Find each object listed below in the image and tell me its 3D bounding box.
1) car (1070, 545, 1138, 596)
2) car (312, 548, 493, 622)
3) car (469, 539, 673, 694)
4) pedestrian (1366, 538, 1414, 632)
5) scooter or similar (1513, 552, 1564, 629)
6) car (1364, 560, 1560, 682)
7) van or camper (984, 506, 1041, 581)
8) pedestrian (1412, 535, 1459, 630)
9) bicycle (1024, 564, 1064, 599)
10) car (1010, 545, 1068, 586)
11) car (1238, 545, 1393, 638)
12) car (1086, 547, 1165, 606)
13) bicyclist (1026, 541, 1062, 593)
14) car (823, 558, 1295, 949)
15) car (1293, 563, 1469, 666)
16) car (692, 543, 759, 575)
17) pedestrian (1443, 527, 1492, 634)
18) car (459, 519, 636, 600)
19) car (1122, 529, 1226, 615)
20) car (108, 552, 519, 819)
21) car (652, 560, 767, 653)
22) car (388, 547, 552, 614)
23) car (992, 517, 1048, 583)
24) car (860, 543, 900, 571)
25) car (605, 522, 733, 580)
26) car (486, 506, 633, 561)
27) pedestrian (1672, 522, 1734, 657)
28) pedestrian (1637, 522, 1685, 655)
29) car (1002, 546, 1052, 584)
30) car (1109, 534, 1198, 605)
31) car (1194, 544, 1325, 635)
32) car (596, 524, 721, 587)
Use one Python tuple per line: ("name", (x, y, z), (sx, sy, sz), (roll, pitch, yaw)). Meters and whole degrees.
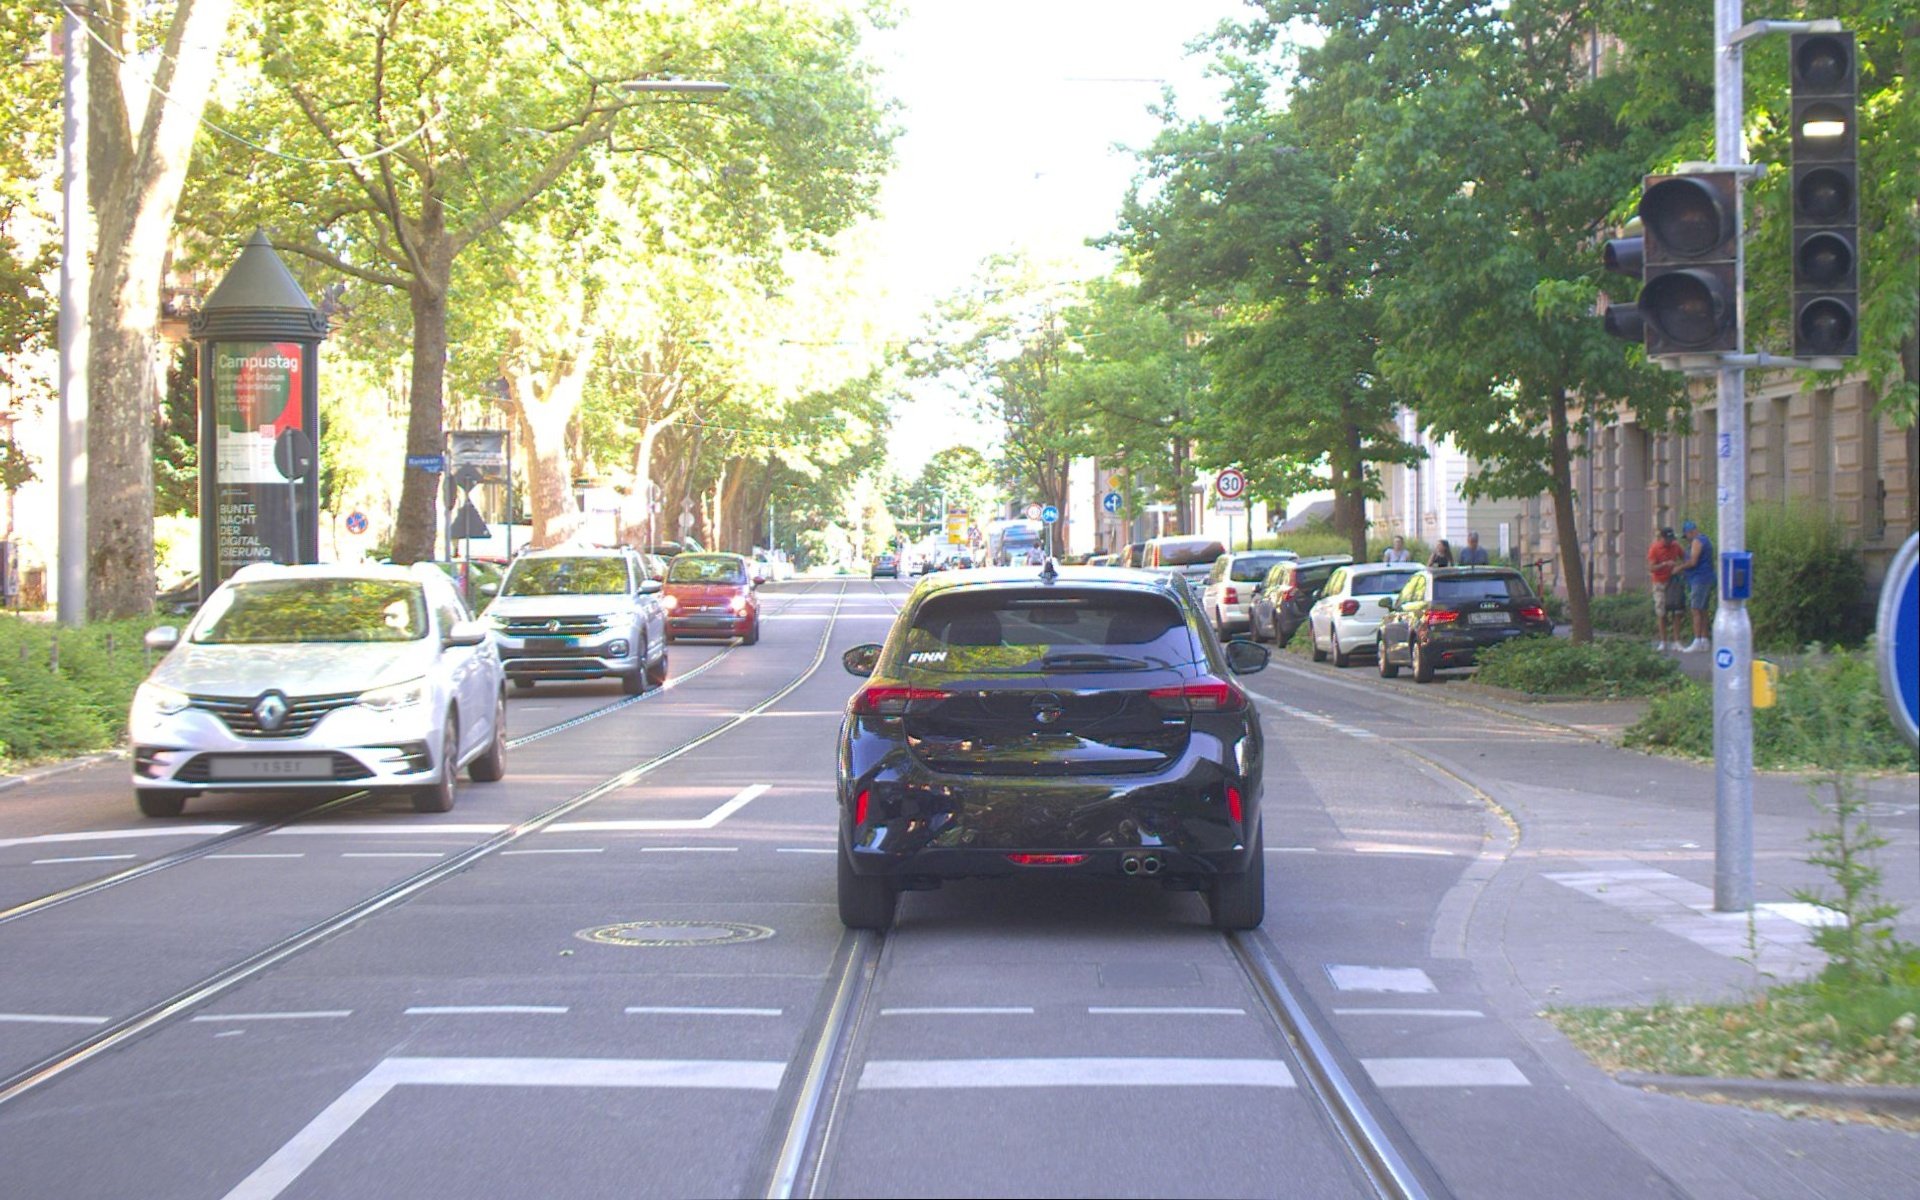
("car", (4.308, -0.900, 103.492), (1.702, 1.418, 3.979), (-3, 1, -2))
("car", (-11.424, -0.311, 70.586), (3.420, 1.460, 1.697), (1, 1, 1))
("car", (-4.190, 0.145, 37.554), (1.815, 1.563, 4.116), (-1, 1, -1))
("pedestrian", (7.827, -0.278, 62.618), (0.726, 1.687, 0.957), (1, 1, 0))
("scooter or similar", (9.476, -0.167, 56.328), (0.575, 1.242, 1.335), (1, 1, 0))
("car", (6.281, 0.230, 43.384), (1.672, 1.407, 3.843), (-2, 1, -3))
("van or camper", (2.324, -2.514, 153.418), (2.254, 3.205, 5.531), (-1, 1, -2))
("pedestrian", (8.656, -0.316, 62.645), (0.726, 1.703, 0.856), (1, 1, 2))
("bicycle", (2.457, -0.553, 101.195), (0.967, 0.995, 2.583), (1, 1, -3))
("car", (2.959, -1.299, 129.401), (1.884, 1.429, 4.530), (-2, 1, -2))
("car", (6.090, -0.169, 59.373), (1.884, 1.462, 4.594), (-3, 1, -3))
("car", (4.539, -0.658, 94.757), (1.711, 1.509, 4.037), (-2, 1, -3))
("bicyclist", (2.468, -0.977, 101.193), (0.958, 1.494, 1.094), (1, 1, -3))
("car", (0.324, 0.558, 14.963), (1.763, 1.455, 3.951), (1, 1, -1))
("car", (6.077, 0.179, 50.022), (1.884, 1.363, 4.107), (-2, 1, -2))
("car", (-15.096, -2.649, 221.289), (3.987, 2.007, 2.000), (1, 1, 5))
("pedestrian", (8.565, -0.337, 58.028), (0.726, 1.787, 0.600), (1, 0, 1))
("car", (-11.978, -1.185, 100.065), (5.032, 2.251, 2.086), (1, 1, -5))
("car", (4.918, -0.653, 79.655), (1.884, 1.845, 4.968), (-2, 1, -2))
("car", (-3.844, 0.448, 21.102), (1.775, 1.456, 4.204), (1, 1, -1))
("car", (-4.088, 0.081, 56.472), (1.660, 1.439, 3.473), (1, 1, -1))
("car", (-11.068, -0.453, 77.800), (3.420, 1.460, 1.759), (1, 1, 1))
("car", (2.545, -2.158, 146.860), (2.085, 2.762, 4.698), (-1, 1, -2))
("car", (-5.383, -2.902, 231.720), (2.253, 1.834, 5.532), (-1, 1, -6))
("car", (-13.399, -2.272, 158.636), (5.639, 2.584, 2.196), (1, 1, 2))
("car", (-12.010, -1.985, 103.364), (4.299, 1.601, 1.926), (0, 1, -4))
("pedestrian", (9.941, -0.142, 46.024), (0.598, 1.787, 0.728), (1, 0, -4))
("pedestrian", (9.551, -0.161, 46.828), (0.599, 1.787, 0.728), (1, 1, 12))
("car", (2.708, -1.408, 139.665), (1.803, 1.429, 4.000), (-1, 0, -2))
("car", (4.975, -0.799, 88.856), (1.885, 1.760, 4.678), (-1, 1, -2))
("car", (5.550, -0.217, 64.206), (1.884, 1.562, 4.242), (-2, 1, -2))
("car", (-12.786, -1.871, 145.933), (5.036, 2.366, 2.081), (-3, 1, -1))
